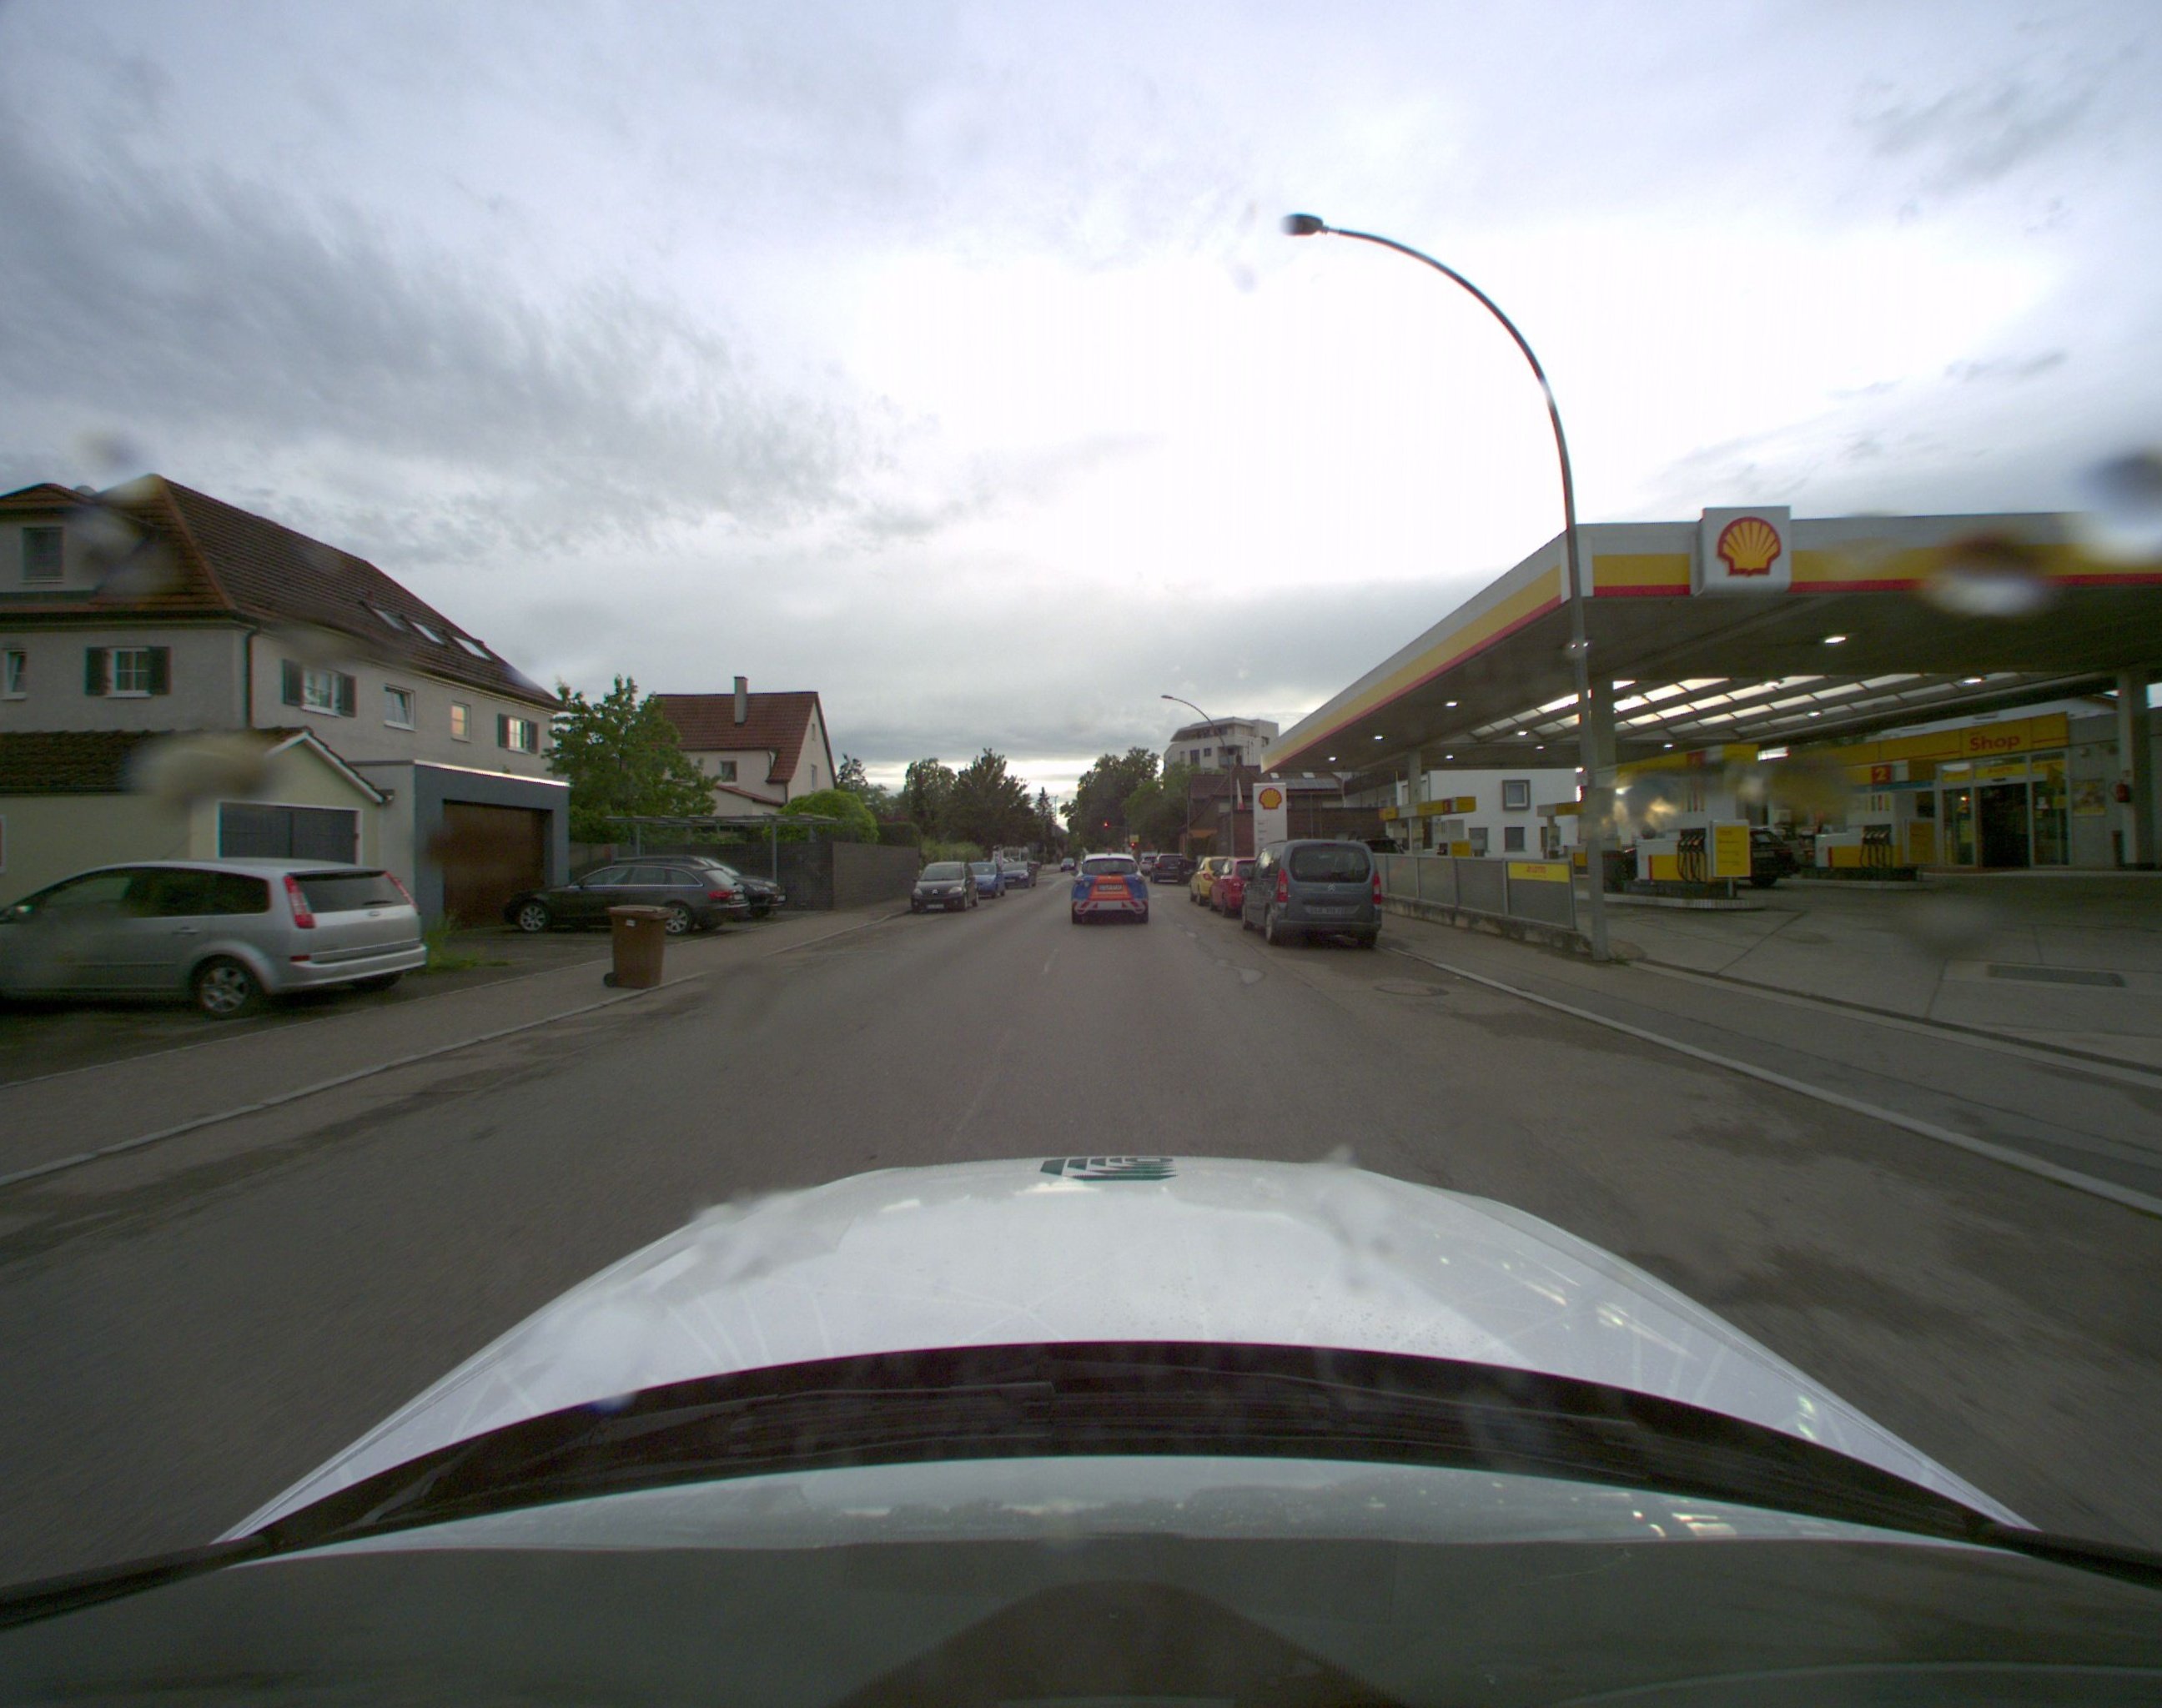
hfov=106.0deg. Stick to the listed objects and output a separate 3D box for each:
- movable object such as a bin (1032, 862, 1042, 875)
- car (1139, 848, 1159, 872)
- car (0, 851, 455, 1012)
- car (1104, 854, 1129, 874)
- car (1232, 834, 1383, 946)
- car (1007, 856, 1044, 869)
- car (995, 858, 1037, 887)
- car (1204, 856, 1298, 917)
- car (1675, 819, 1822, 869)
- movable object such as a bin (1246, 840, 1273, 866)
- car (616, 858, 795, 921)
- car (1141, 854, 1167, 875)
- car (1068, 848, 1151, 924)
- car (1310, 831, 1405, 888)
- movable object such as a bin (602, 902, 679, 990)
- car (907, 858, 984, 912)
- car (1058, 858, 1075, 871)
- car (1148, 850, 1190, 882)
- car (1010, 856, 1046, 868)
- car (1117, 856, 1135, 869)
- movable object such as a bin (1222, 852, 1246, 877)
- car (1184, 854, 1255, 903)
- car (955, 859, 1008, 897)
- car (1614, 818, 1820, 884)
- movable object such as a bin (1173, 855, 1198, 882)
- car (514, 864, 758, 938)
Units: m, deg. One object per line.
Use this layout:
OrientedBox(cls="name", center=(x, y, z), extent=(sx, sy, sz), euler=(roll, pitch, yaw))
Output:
OrientedBox(cls="movable object such as a bin", center=(-3.742, 1.218, 69.246), extent=(0.705, 1.130, 0.736), euler=(0, 0, 2))
OrientedBox(cls="car", center=(6.168, 0.532, 74.047), extent=(1.769, 2.029, 4.760), euler=(0, 1, 5))
OrientedBox(cls="car", center=(-9.671, 0.764, 8.914), extent=(4.073, 1.513, 1.882), euler=(-1, 0, -2))
OrientedBox(cls="car", center=(3.093, 0.850, 70.250), extent=(1.984, 1.574, 4.006), euler=(0, 1, 5))
OrientedBox(cls="car", center=(3.985, 0.563, 15.089), extent=(1.650, 1.738, 4.446), euler=(1, 0, 2))
OrientedBox(cls="car", center=(-6.445, 0.965, 94.569), extent=(3.969, 1.544, 1.806), euler=(0, 0, 4))
OrientedBox(cls="car", center=(-3.473, 0.949, 44.167), extent=(1.800, 1.403, 3.947), euler=(-2, 0, 2))
OrientedBox(cls="car", center=(4.214, 0.745, 20.737), extent=(1.650, 1.376, 4.026), euler=(-1, 0, 2))
OrientedBox(cls="car", center=(21.541, -0.308, 26.492), extent=(1.733, 1.466, 3.781), euler=(-1, 0, 2))
OrientedBox(cls="movable object such as a bin", center=(9.477, -0.074, 43.300), extent=(1.098, 1.340, 1.384), euler=(-1, 0, 0))
OrientedBox(cls="car", center=(-9.154, 0.837, 20.109), extent=(3.577, 1.457, 1.755), euler=(1, 0, -3))
OrientedBox(cls="car", center=(6.050, 0.824, 67.916), extent=(1.859, 1.665, 4.322), euler=(0, 0, 2))
OrientedBox(cls="car", center=(0.676, 0.672, 19.440), extent=(1.739, 1.581, 4.002), euler=(-1, 0, 2))
OrientedBox(cls="car", center=(9.262, 0.173, 27.598), extent=(1.814, 1.759, 3.999), euler=(-1, 0, -1))
OrientedBox(cls="movable object such as a bin", center=(-5.905, 1.221, 10.952), extent=(0.593, 1.057, 0.687), euler=(4, 2, 2))
OrientedBox(cls="car", center=(-4.180, 0.908, 25.670), extent=(1.602, 1.506, 3.709), euler=(-2, 0, 2))
OrientedBox(cls="car", center=(-1.598, 1.166, 90.280), extent=(1.619, 1.433, 3.687), euler=(-1, 0, 4))
OrientedBox(cls="car", center=(4.984, 0.654, 46.768), extent=(2.083, 1.662, 4.561), euler=(0, 1, 2))
OrientedBox(cls="car", center=(-6.308, 0.973, 97.234), extent=(3.969, 1.441, 1.806), euler=(0, 0, 4))
OrientedBox(cls="car", center=(5.317, 1.029, 96.989), extent=(1.789, 1.428, 3.998), euler=(0, 1, -1))
OrientedBox(cls="movable object such as a bin", center=(8.532, 0.583, 45.433), extent=(1.098, 1.340, 1.384), euler=(-1, 0, 0))
OrientedBox(cls="car", center=(4.248, 0.713, 25.467), extent=(1.650, 1.402, 3.803), euler=(-1, 0, 2))
OrientedBox(cls="car", center=(-4.038, 0.940, 33.586), extent=(1.540, 1.403, 3.599), euler=(-2, 0, 2))
OrientedBox(cls="car", center=(15.998, -0.072, 20.872), extent=(1.733, 1.466, 4.675), euler=(-1, 0, 2))
OrientedBox(cls="movable object such as a bin", center=(5.571, 0.764, 43.380), extent=(1.123, 1.388, 1.503), euler=(-1, 0, 0))
OrientedBox(cls="car", center=(-9.119, 0.931, 16.939), extent=(4.072, 1.414, 1.713), euler=(0, 0, -2))
